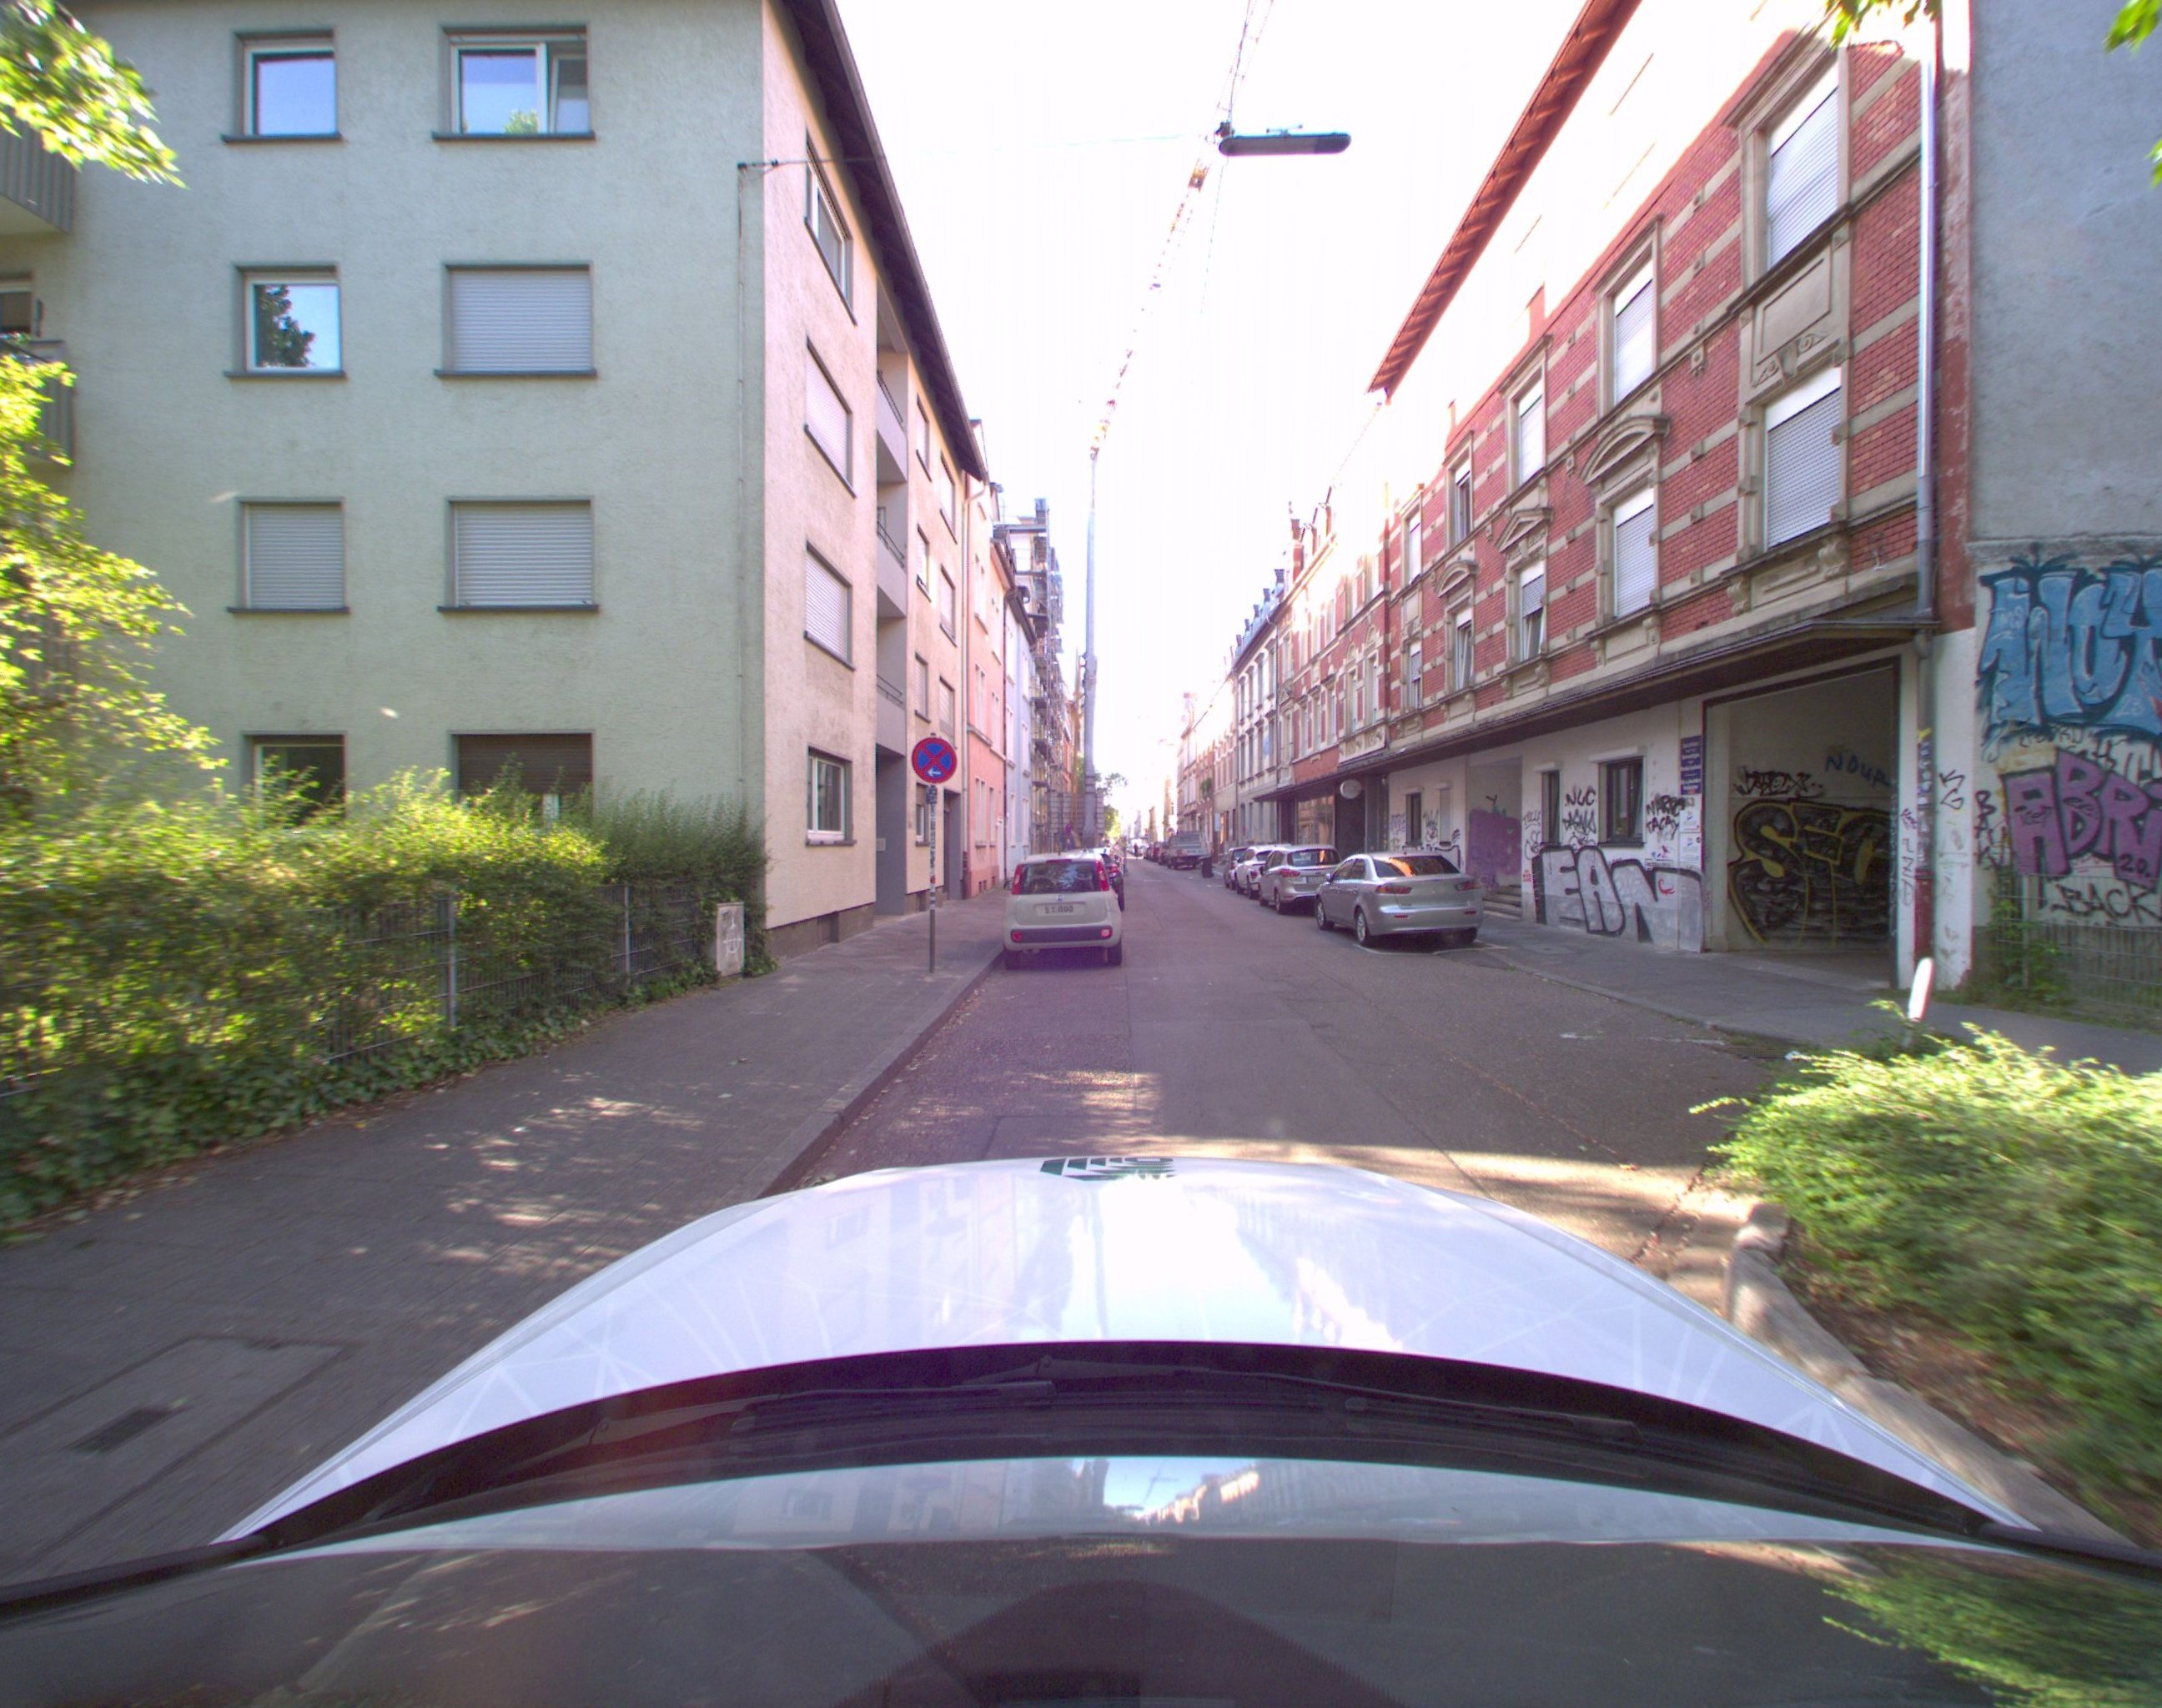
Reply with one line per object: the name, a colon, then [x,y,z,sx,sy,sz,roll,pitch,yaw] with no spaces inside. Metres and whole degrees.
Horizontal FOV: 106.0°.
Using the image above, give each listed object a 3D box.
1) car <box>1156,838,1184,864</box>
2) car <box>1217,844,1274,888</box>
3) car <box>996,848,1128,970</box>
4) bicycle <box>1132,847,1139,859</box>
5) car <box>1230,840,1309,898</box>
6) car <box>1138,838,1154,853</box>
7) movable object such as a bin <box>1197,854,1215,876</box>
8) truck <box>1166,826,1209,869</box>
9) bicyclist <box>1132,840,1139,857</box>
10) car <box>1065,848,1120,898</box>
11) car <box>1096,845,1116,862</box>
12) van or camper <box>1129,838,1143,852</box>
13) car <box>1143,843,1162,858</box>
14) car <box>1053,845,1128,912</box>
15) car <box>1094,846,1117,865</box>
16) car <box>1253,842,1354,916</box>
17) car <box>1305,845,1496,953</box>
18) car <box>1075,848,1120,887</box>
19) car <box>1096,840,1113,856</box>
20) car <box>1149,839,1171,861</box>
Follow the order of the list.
car: [6.915,-0.224,63.628,1.669,1.962,4.108,-1,0,0]
car: [6.217,0.401,31.095,1.590,1.560,3.818,-1,1,4]
car: [-0.254,0.699,12.467,1.669,1.539,3.868,-1,0,0]
bicycle: [5.779,-0.138,86.435,0.722,1.186,2.044,1,1,2]
car: [5.890,0.417,25.921,1.739,1.675,4.344,-1,0,3]
car: [9.031,-1.164,114.035,1.987,2.013,4.001,0,1,1]
movable object such as a bin: [6.260,0.537,40.868,0.792,1.056,0.660,0,0,2]
truck: [6.883,-0.432,53.117,2.182,2.607,5.235,-1,1,1]
bicyclist: [5.783,-0.615,86.443,0.727,1.761,0.836,0,1,2]
car: [0.436,0.555,27.185,1.668,1.511,4.416,-1,0,2]
car: [2.297,-0.036,74.216,1.669,1.445,3.868,-1,0,0]
van or camper: [9.682,-1.568,142.652,1.988,2.508,4.199,-1,1,-2]
car: [7.836,-0.424,89.606,1.669,1.571,3.868,-1,0,0]
car: [0.222,0.555,21.556,1.724,1.539,4.377,-2,0,0]
car: [1.950,0.076,65.402,1.669,1.445,3.868,-1,0,0]
car: [5.403,0.542,20.239,1.633,1.656,3.872,0,0,3]
car: [5.271,0.634,14.095,1.714,1.562,4.401,0,1,2]
car: [0.706,0.490,32.912,1.668,1.477,4.610,-1,0,2]
car: [2.393,-0.623,84.392,1.669,1.571,3.868,-1,0,0]
car: [7.377,-0.391,76.121,1.669,2.031,3.868,-1,0,0]
